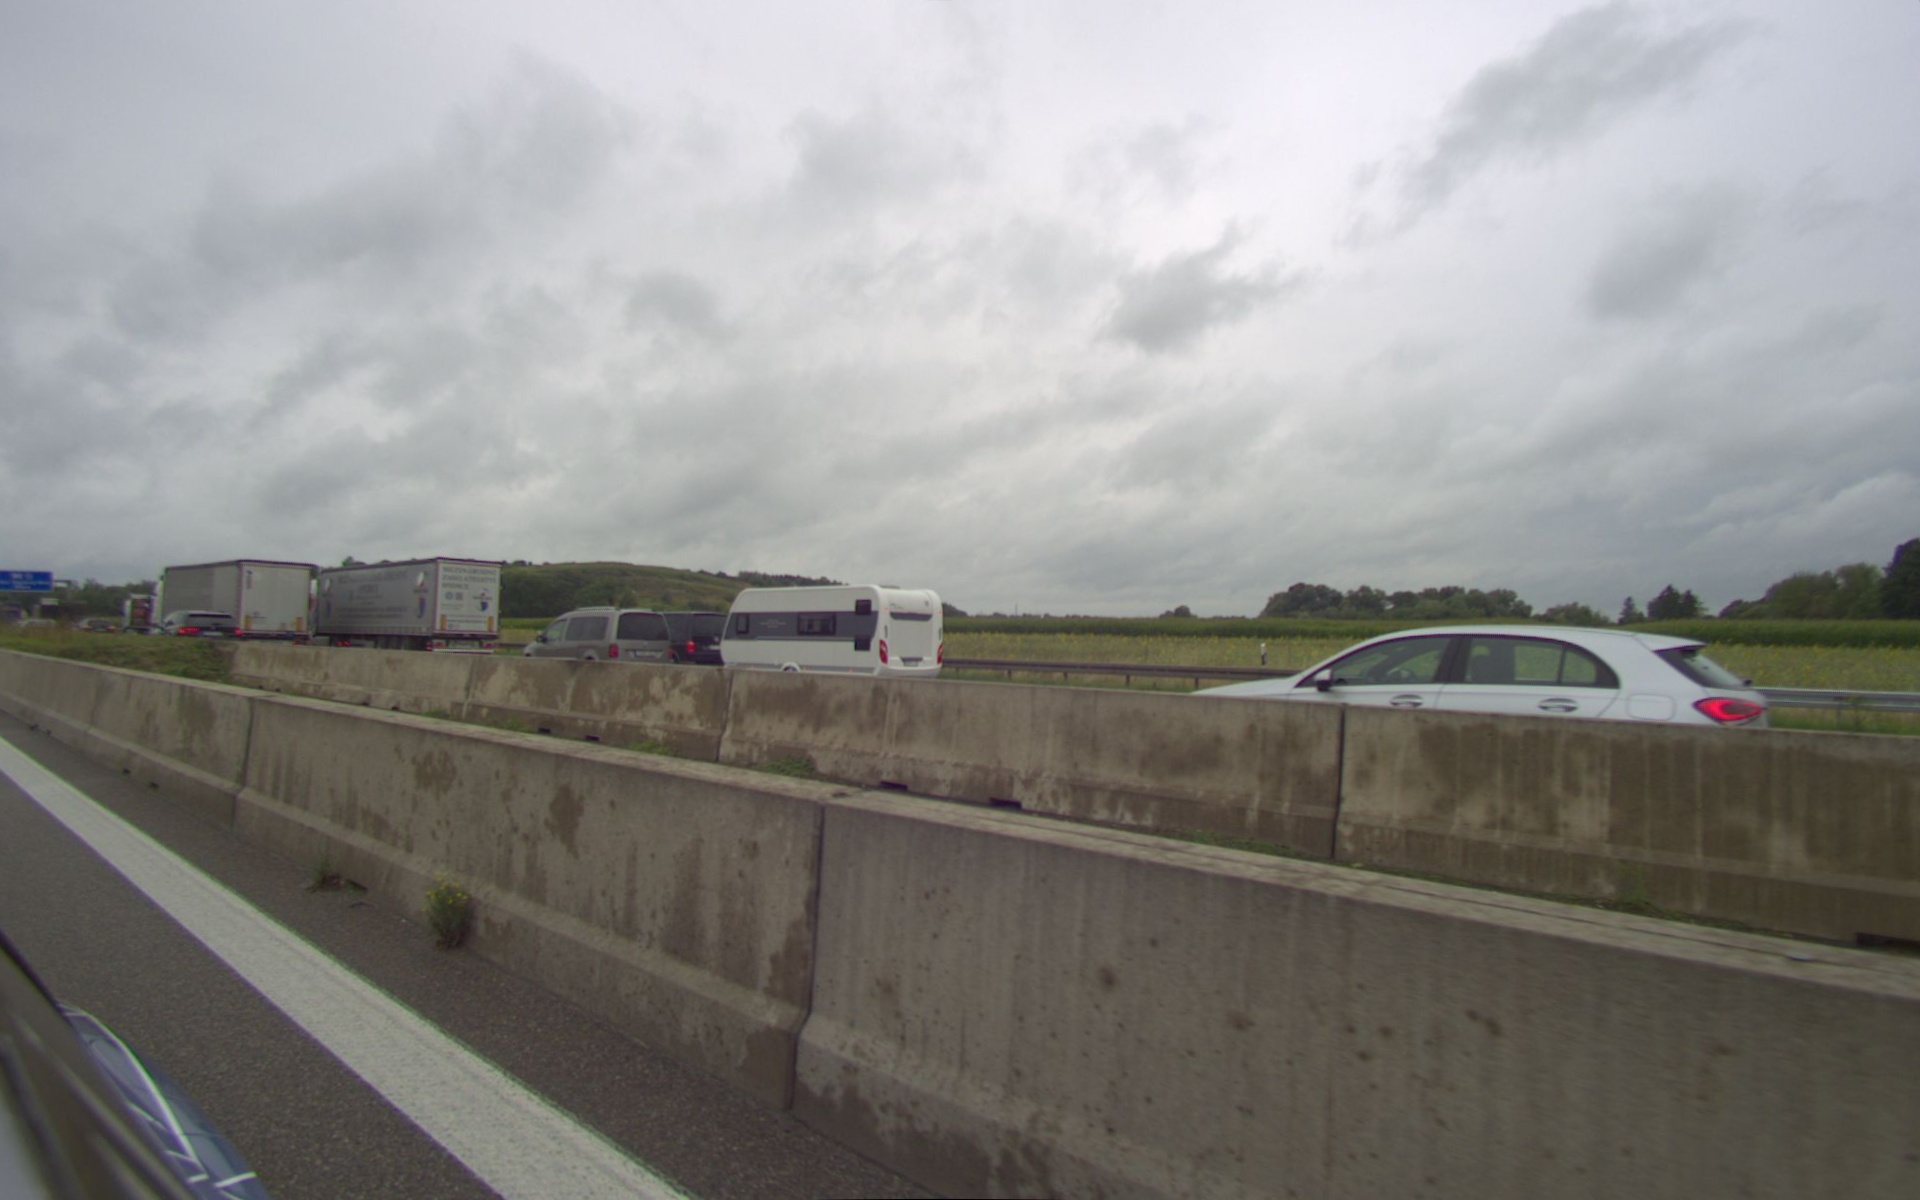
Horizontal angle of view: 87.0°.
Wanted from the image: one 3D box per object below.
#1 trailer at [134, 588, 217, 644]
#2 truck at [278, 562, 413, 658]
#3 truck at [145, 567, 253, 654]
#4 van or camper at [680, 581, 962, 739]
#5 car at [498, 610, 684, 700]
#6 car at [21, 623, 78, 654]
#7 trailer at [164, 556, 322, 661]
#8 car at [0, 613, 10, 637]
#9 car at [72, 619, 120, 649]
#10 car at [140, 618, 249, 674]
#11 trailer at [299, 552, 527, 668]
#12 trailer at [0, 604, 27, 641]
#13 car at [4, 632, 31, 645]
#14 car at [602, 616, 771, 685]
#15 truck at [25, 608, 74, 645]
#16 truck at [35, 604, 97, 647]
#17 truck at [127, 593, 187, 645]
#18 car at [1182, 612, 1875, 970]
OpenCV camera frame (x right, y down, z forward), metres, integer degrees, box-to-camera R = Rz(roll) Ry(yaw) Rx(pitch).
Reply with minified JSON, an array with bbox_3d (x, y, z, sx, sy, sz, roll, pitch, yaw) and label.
[{"bbox_3d":[-57.260,1.265,73.711,12.188,3.754,2.613,-3,-1,42],"label":"trailer"},{"bbox_3d":[-30.101,0.451,49.425,7.589,4.307,3.577,-1,0,42],"label":"truck"},{"bbox_3d":[-37.677,0.490,50.058,6.370,4.005,3.060,-1,0,42],"label":"truck"},{"bbox_3d":[-3.790,1.345,26.121,7.693,3.529,2.682,-1,0,39],"label":"van or camper"},{"bbox_3d":[-8.900,1.242,24.155,5.275,1.939,1.863,-1,-2,41],"label":"car"},{"bbox_3d":[-54.225,2.260,60.231,4.799,1.723,2.071,-1,-1,43],"label":"car"},{"bbox_3d":[-32.317,0.361,45.293,12.326,4.119,3.053,-1,0,42],"label":"trailer"},{"bbox_3d":[-82.277,2.131,85.930,4.799,2.029,1.972,-1,-2,42],"label":"car"},{"bbox_3d":[-59.975,2.361,70.244,4.359,2.029,1.972,-1,-2,42],"label":"car"},{"bbox_3d":[-26.070,1.513,34.388,5.069,1.778,1.972,-1,-2,41],"label":"car"},{"bbox_3d":[-24.385,0.406,44.317,15.619,4.303,3.674,-1,0,42],"label":"trailer"},{"bbox_3d":[-129.491,3.034,136.895,11.673,4.804,3.353,-1,0,40],"label":"trailer"},{"bbox_3d":[-115.778,4.701,124.278,5.011,1.628,1.863,-1,-2,41],"label":"car"},{"bbox_3d":[-8.087,1.435,29.676,5.127,1.767,2.072,-1,1,38],"label":"car"},{"bbox_3d":[-77.810,2.216,86.423,7.422,2.930,2.287,-1,0,42],"label":"truck"},{"bbox_3d":[-100.357,2.797,113.577,11.778,4.517,3.477,-1,0,40],"label":"truck"},{"bbox_3d":[-61.676,1.483,77.692,5.869,3.754,2.613,-3,-1,42],"label":"truck"},{"bbox_3d":[3.991,1.090,7.592,4.171,1.939,1.863,-1,-2,41],"label":"car"}]
